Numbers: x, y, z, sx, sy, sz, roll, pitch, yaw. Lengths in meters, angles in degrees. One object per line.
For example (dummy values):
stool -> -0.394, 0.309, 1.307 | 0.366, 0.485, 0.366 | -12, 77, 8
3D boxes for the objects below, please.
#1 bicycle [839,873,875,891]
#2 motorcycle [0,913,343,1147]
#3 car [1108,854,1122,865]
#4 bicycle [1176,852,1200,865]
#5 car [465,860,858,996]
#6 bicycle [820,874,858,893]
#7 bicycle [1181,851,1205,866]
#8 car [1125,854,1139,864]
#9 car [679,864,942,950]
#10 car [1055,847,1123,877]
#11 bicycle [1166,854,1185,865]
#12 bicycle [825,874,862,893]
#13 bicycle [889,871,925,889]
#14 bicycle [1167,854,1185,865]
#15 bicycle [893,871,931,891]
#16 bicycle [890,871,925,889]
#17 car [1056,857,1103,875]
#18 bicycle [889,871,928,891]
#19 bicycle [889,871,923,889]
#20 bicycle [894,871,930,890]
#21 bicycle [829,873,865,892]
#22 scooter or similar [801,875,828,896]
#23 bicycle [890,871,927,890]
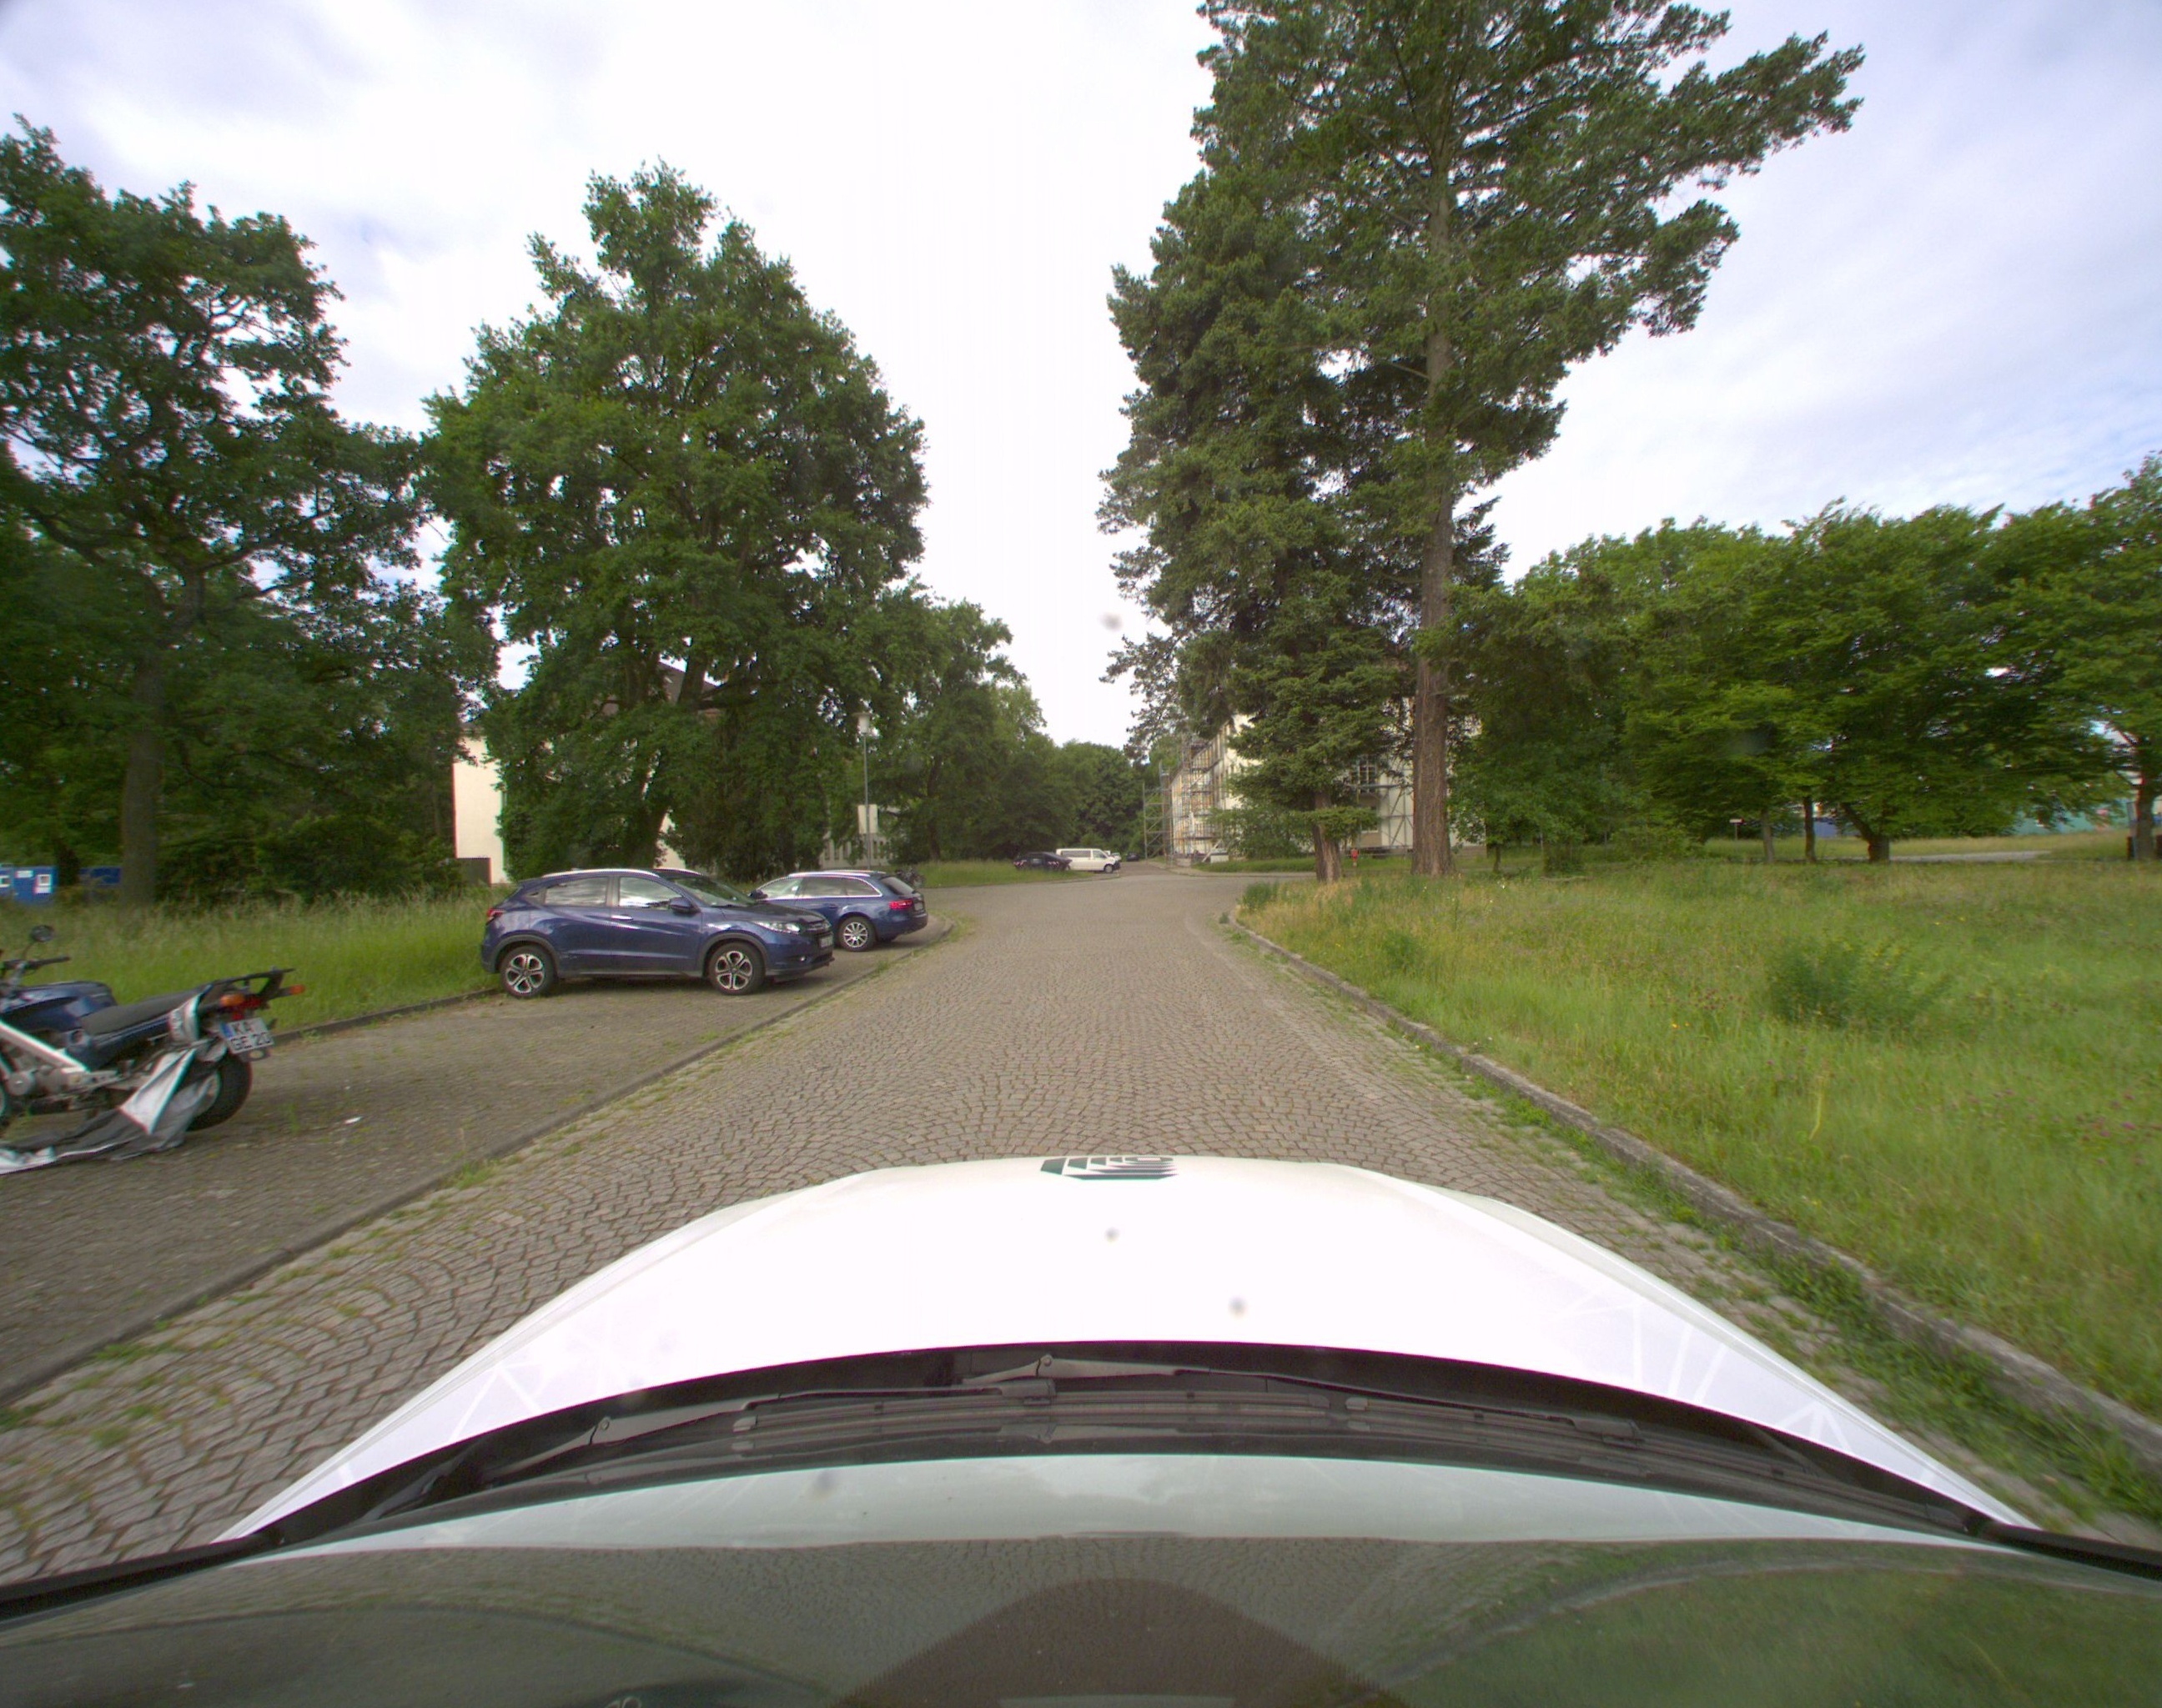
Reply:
bicycle -> -13.498, 1.683, 49.088 | 1.957, 0.989, 0.625 | -2, 0, -9
motorcycle -> -6.049, 1.051, 5.088 | 2.265, 1.291, 0.719 | -1, 0, 2
car -> 5.460, 0.884, 130.202 | 2.111, 1.521, 4.001 | -2, 0, 1
bicycle -> 10.677, 0.473, 81.249 | 2.230, 1.254, 0.778 | -2, -1, 4
car -> -5.369, 0.907, 10.854 | 4.214, 1.577, 1.887 | -1, 0, 0
bicycle -> -13.372, 1.628, 45.017 | 1.965, 0.989, 0.622 | -2, 0, -21
bicycle -> 10.568, 0.425, 76.992 | 2.230, 1.254, 0.778 | -2, -1, 4
car -> 8.137, 0.780, 130.429 | 1.944, 1.521, 4.000 | -2, 0, 1
car -> -5.029, 0.971, 15.564 | 4.284, 1.461, 1.977 | -1, 0, 3
car -> 0.603, 0.628, 64.280 | 5.218, 2.168, 1.999 | -2, 0, -1
bicycle -> 11.824, 0.683, 101.944 | 2.230, 1.254, 0.699 | -2, -1, 4
bicycle -> -13.639, 1.660, 46.734 | 1.967, 0.989, 0.622 | -2, 0, -25
bicycle -> -10.375, 1.552, 48.591 | 1.965, 0.989, 0.622 | -2, 0, -21
bicycle -> 11.753, 0.670, 100.607 | 2.230, 1.254, 0.627 | -2, -1, 4
bicycle -> -9.290, 1.462, 44.778 | 1.965, 0.989, 0.622 | -2, 0, -21
bicycle -> -10.219, 1.539, 48.005 | 1.965, 0.989, 0.622 | -2, 0, -21
car -> -0.146, 0.975, 66.892 | 3.778, 1.395, 1.999 | -2, 0, -1
bicycle -> -9.339, 1.456, 44.155 | 1.963, 0.989, 0.623 | -2, 0, -19
bicycle -> -10.671, 1.578, 49.726 | 1.965, 0.989, 0.622 | -2, 0, -21
bicycle -> -9.802, 1.513, 47.267 | 1.965, 0.989, 0.622 | -2, 0, -21
bicycle -> -13.819, 1.685, 48.087 | 1.957, 0.989, 0.625 | -2, 0, -9
scooter or similar -> -14.299, 1.690, 43.706 | 1.337, 1.038, 0.456 | -2, -1, 23
bicycle -> -9.707, 1.491, 45.762 | 1.965, 0.989, 0.622 | -2, 0, -21
